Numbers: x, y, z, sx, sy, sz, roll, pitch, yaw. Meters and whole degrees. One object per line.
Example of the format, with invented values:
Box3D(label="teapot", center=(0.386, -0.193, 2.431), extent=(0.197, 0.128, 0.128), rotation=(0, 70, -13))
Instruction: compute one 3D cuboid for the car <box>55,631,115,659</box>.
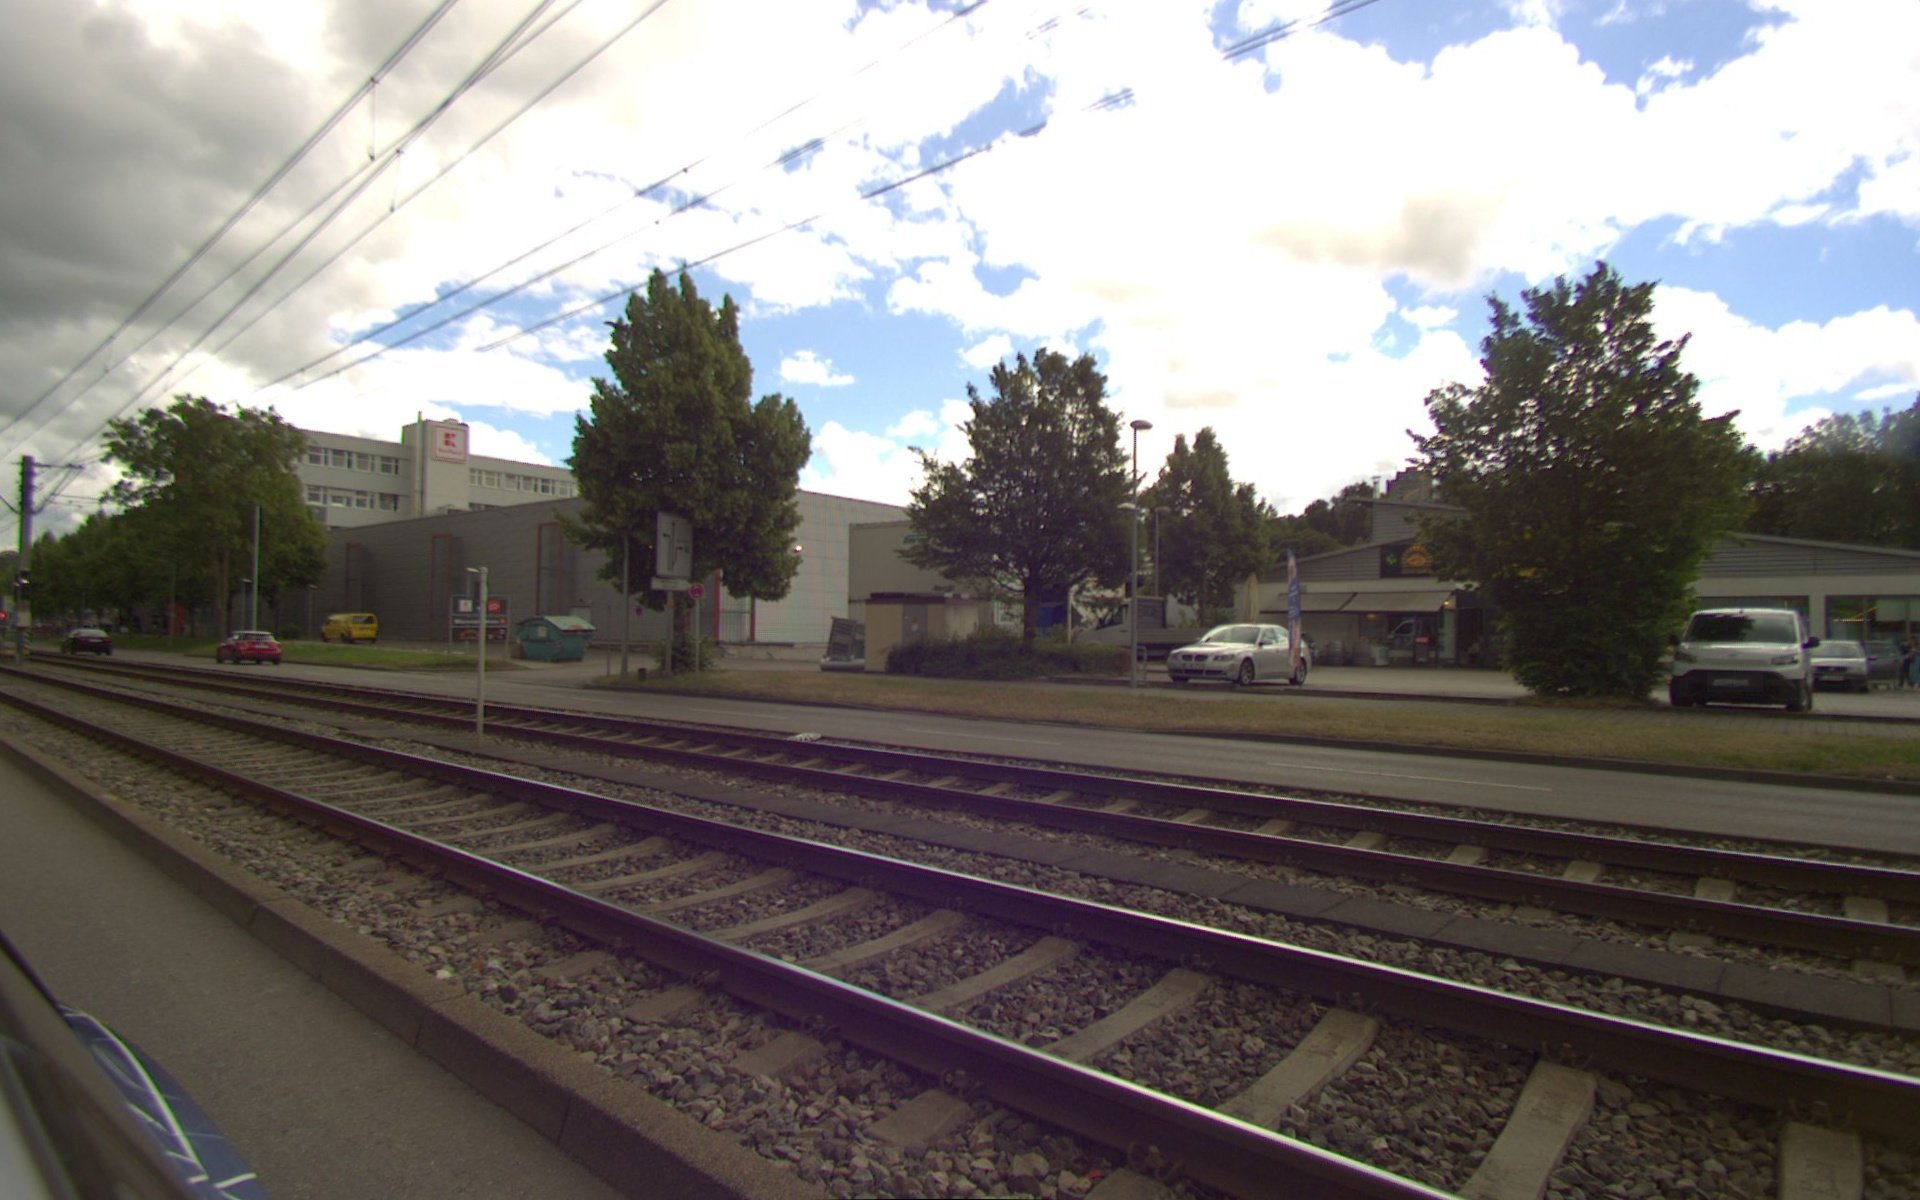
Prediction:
Box3D(label="car", center=(-48.095, 2.458, 55.606), extent=(4.440, 1.412, 1.741), rotation=(-2, -5, 40))

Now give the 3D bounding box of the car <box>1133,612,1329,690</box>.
Box3D(label="car", center=(6.507, 1.185, 23.974), extent=(2.651, 1.641, 4.730), rotation=(-3, -3, 42))

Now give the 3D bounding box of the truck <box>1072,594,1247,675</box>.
Box3D(label="truck", center=(6.300, 1.123, 32.436), extent=(5.261, 2.401, 1.972), rotation=(-2, -3, 41))

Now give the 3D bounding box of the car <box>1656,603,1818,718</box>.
Box3D(label="car", center=(13.553, 1.012, 17.651), extent=(1.993, 1.740, 4.178), rotation=(-2, -3, 39))

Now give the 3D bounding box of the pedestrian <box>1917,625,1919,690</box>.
Box3D(label="pedestrian", center=(27.773, 1.649, 28.837), extent=(0.663, 1.869, 0.539), rotation=(-2, -3, 41))

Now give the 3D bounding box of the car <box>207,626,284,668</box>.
Box3D(label="car", center=(-31.502, 2.043, 44.582), extent=(3.996, 1.785, 1.774), rotation=(-1, -3, 39))

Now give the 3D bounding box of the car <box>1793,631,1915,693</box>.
Box3D(label="car", center=(25.756, 1.758, 29.281), extent=(2.465, 1.652, 3.881), rotation=(-2, -3, 40))

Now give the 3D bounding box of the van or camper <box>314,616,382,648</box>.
Box3D(label="van or camper", center=(-40.187, 2.083, 66.397), extent=(5.235, 2.029, 2.083), rotation=(-2, -2, 38))
